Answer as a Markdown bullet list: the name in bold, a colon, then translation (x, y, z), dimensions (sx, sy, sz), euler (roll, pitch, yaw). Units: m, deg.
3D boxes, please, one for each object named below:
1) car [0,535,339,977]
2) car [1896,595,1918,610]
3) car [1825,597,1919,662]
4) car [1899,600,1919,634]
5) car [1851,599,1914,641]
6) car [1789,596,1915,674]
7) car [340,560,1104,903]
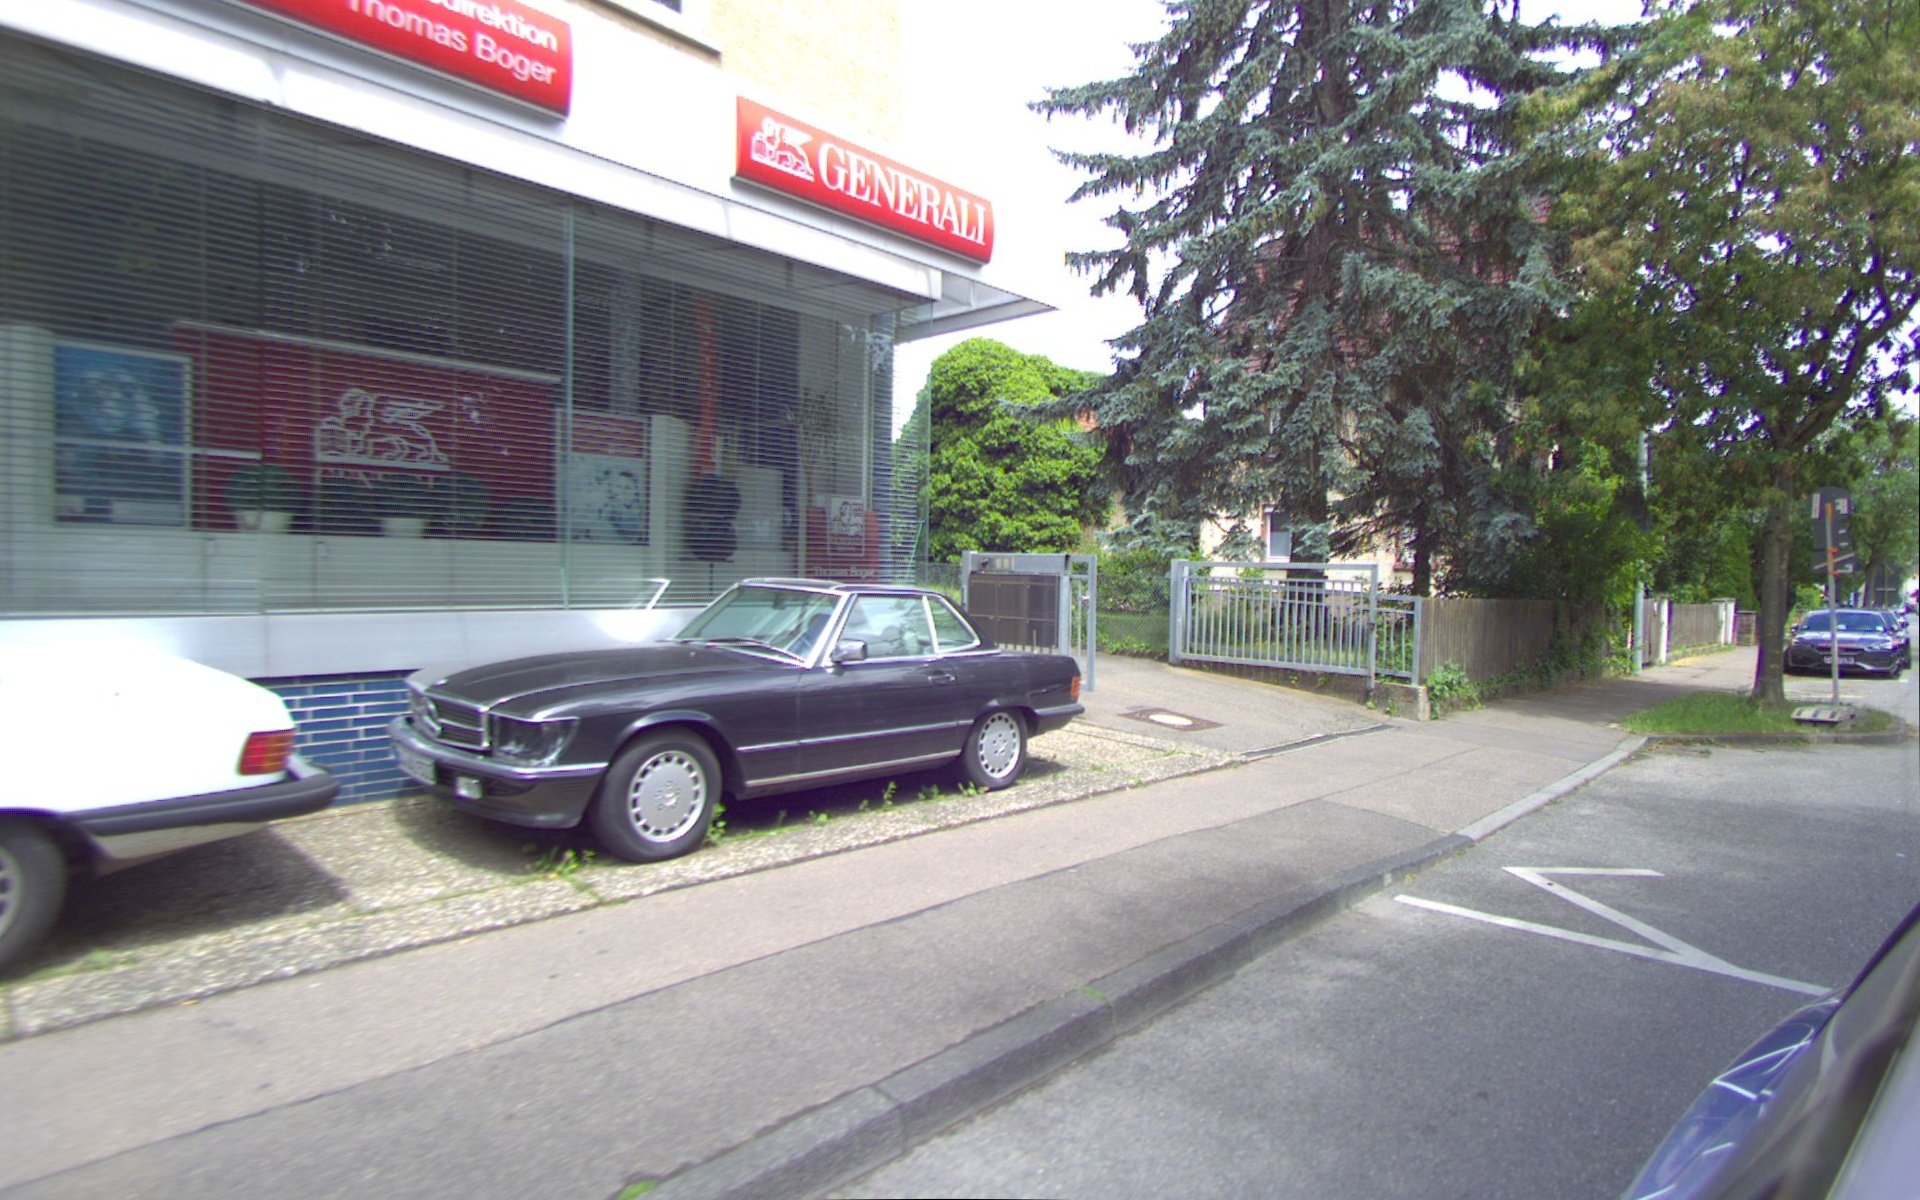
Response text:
- **car**: translation (-4.411, 0.449, 2.668), dimensions (1.783, 1.332, 4.416), euler (4, 3, 40)
- **car**: translation (87.832, 0.191, 93.875), dimensions (1.530, 1.332, 3.523), euler (0, 1, 43)
- **car**: translation (22.966, 0.678, 25.384), dimensions (1.762, 1.510, 3.800), euler (0, 0, 43)
- **car**: translation (44.238, 0.762, 46.390), dimensions (1.762, 1.510, 3.523), euler (0, 1, 43)
- **car**: translation (36.130, 0.754, 39.647), dimensions (1.762, 1.510, 3.523), euler (0, 1, 43)
- **car**: translation (19.526, 0.679, 22.114), dimensions (1.933, 1.510, 3.960), euler (0, 1, 43)
- **car**: translation (-1.089, 0.474, 6.141), dimensions (1.784, 1.299, 4.251), euler (4, 3, 42)
